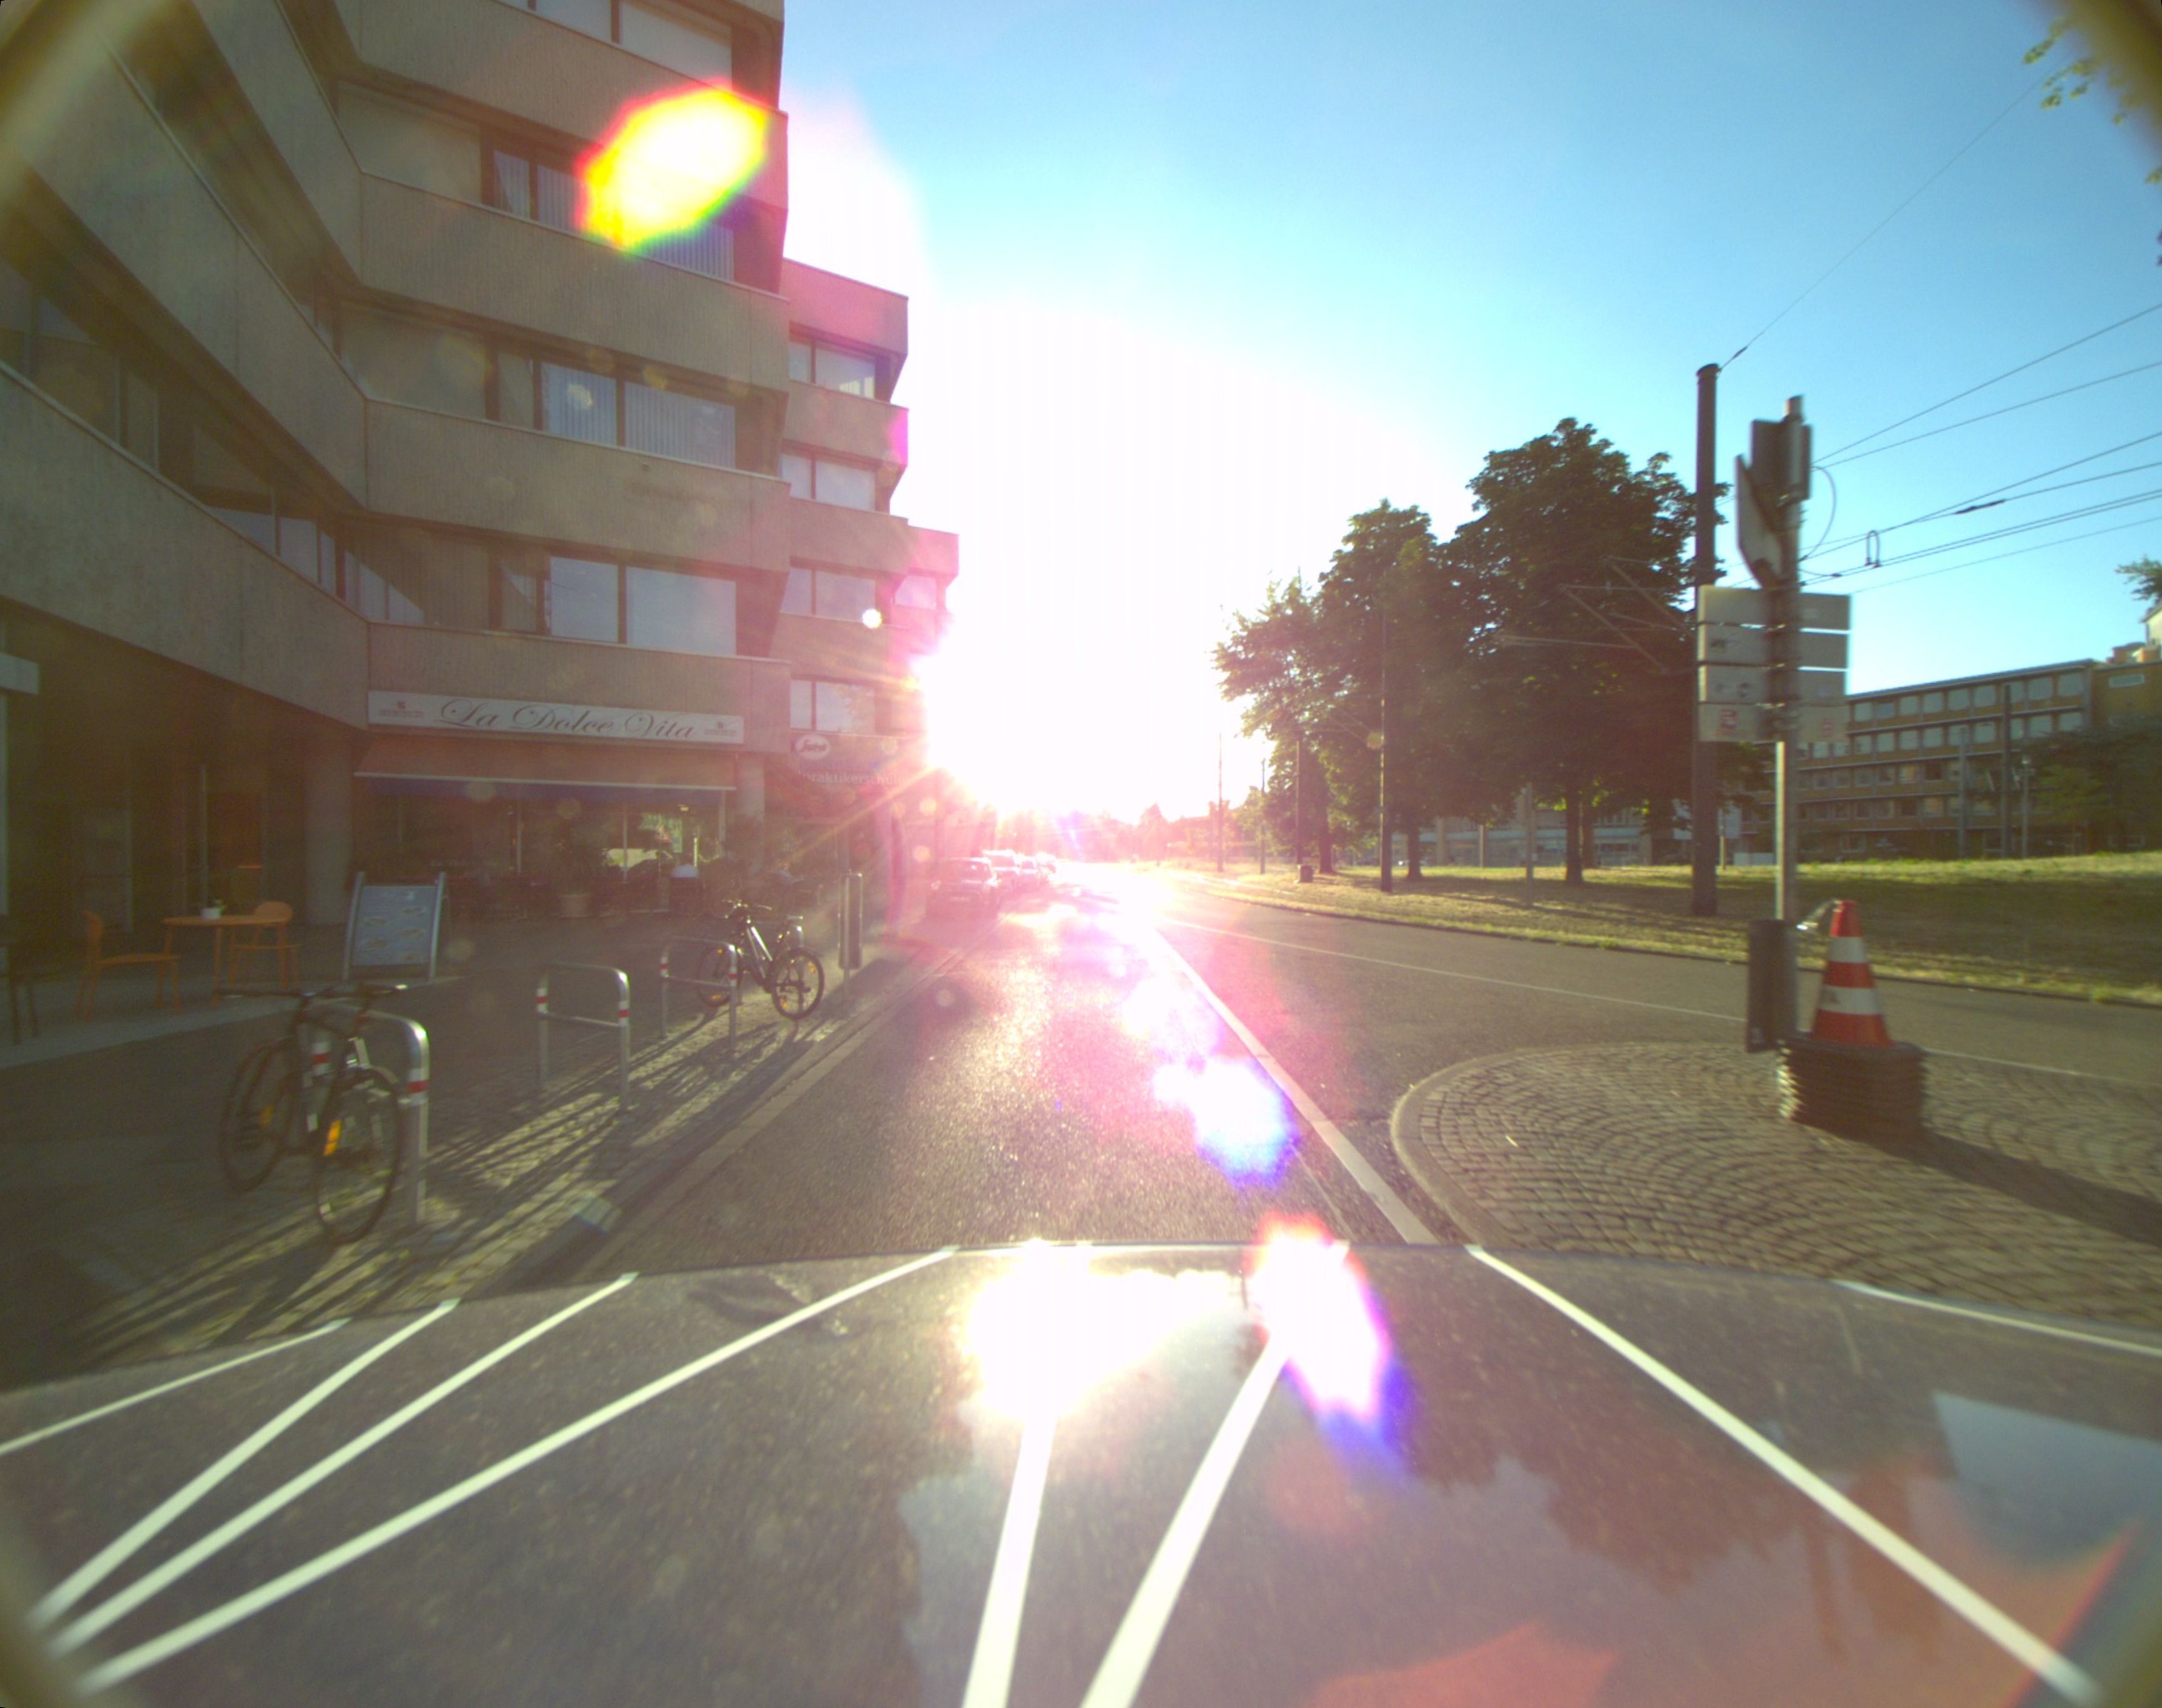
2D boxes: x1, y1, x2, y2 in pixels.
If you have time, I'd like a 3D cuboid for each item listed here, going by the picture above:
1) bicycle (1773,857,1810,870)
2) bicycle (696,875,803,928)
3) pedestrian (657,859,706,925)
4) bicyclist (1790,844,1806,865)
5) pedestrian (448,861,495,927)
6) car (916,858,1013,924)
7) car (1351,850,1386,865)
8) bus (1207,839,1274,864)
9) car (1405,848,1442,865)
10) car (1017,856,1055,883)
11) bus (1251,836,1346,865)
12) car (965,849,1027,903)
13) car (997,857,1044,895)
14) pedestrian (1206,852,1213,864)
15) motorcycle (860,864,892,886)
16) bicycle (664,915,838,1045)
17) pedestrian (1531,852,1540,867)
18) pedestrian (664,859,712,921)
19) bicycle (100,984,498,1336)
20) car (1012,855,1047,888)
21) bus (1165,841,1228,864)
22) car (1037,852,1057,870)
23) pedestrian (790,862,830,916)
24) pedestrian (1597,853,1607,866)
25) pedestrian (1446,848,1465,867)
[{"bbox_3d":[58.711,0.767,62.809,2.195,1.005,0.473,-2,0,44],"label":"bicycle"},{"bbox_3d":[-6.619,0.936,15.235,1.896,0.999,0.457,2,0,-38],"label":"bicycle"},{"bbox_3d":[-7.973,0.742,15.177,0.642,1.288,0.706,1,0,-9],"label":"pedestrian"},{"bbox_3d":[58.979,0.030,62.476,0.895,1.681,0.955,-1,0,45],"label":"bicyclist"},{"bbox_3d":[-11.689,0.757,14.584,0.559,1.232,0.613,0,0,-25],"label":"pedestrian"},{"bbox_3d":[-2.897,0.882,19.758,1.794,1.499,3.921,-1,0,1],"label":"car"},{"bbox_3d":[38.796,0.468,102.576,1.914,2.002,3.991,-2,0,-30],"label":"car"},{"bbox_3d":[22.535,-0.222,108.286,3.765,3.311,10.716,-1,0,-23],"label":"bus"},{"bbox_3d":[42.724,0.291,94.897,1.858,2.002,3.902,-2,0,-30],"label":"car"},{"bbox_3d":[-2.593,0.867,44.583,1.789,1.448,4.000,0,0,2],"label":"car"},{"bbox_3d":[27.409,-0.363,97.051,3.765,3.342,13.688,-1,0,-23],"label":"bus"},{"bbox_3d":[-3.026,0.759,27.877,1.788,1.794,4.401,-1,0,-1],"label":"car"},{"bbox_3d":[-2.603,0.902,33.353,1.645,1.519,4.000,-1,0,1],"label":"car"},{"bbox_3d":[15.758,0.542,93.219,0.672,1.450,0.699,-1,0,-4],"label":"pedestrian"},{"bbox_3d":[-12.308,1.257,45.636,1.793,1.285,0.670,0,0,16],"label":"motorcycle"},{"bbox_3d":[-3.167,1.140,7.232,1.788,0.984,0.543,2,-1,31],"label":"bicycle"},{"bbox_3d":[50.718,0.629,84.842,0.532,1.682,0.617,-2,0,-17],"label":"pedestrian"},{"bbox_3d":[-8.239,0.745,15.944,0.706,1.271,0.537,0,0,0],"label":"pedestrian"},{"bbox_3d":[-3.367,1.168,3.247,1.789,0.984,0.543,2,-1,23],"label":"bicycle"},{"bbox_3d":[-2.627,0.863,39.558,1.589,1.581,3.667,-2,0,-1],"label":"car"},{"bbox_3d":[17.836,-0.150,118.717,3.765,3.435,12.109,-1,0,-24],"label":"bus"},{"bbox_3d":[-3.106,0.625,69.839,1.655,1.525,4.066,-1,0,-1],"label":"car"},{"bbox_3d":[-6.674,0.850,18.728,0.764,1.290,0.708,-1,0,-34],"label":"pedestrian"},{"bbox_3d":[53.854,0.554,78.529,0.568,1.316,0.682,-2,0,-24],"label":"pedestrian"},{"bbox_3d":[43.367,0.424,88.082,1.061,2.082,1.630,-2,0,-29],"label":"pedestrian"}]
